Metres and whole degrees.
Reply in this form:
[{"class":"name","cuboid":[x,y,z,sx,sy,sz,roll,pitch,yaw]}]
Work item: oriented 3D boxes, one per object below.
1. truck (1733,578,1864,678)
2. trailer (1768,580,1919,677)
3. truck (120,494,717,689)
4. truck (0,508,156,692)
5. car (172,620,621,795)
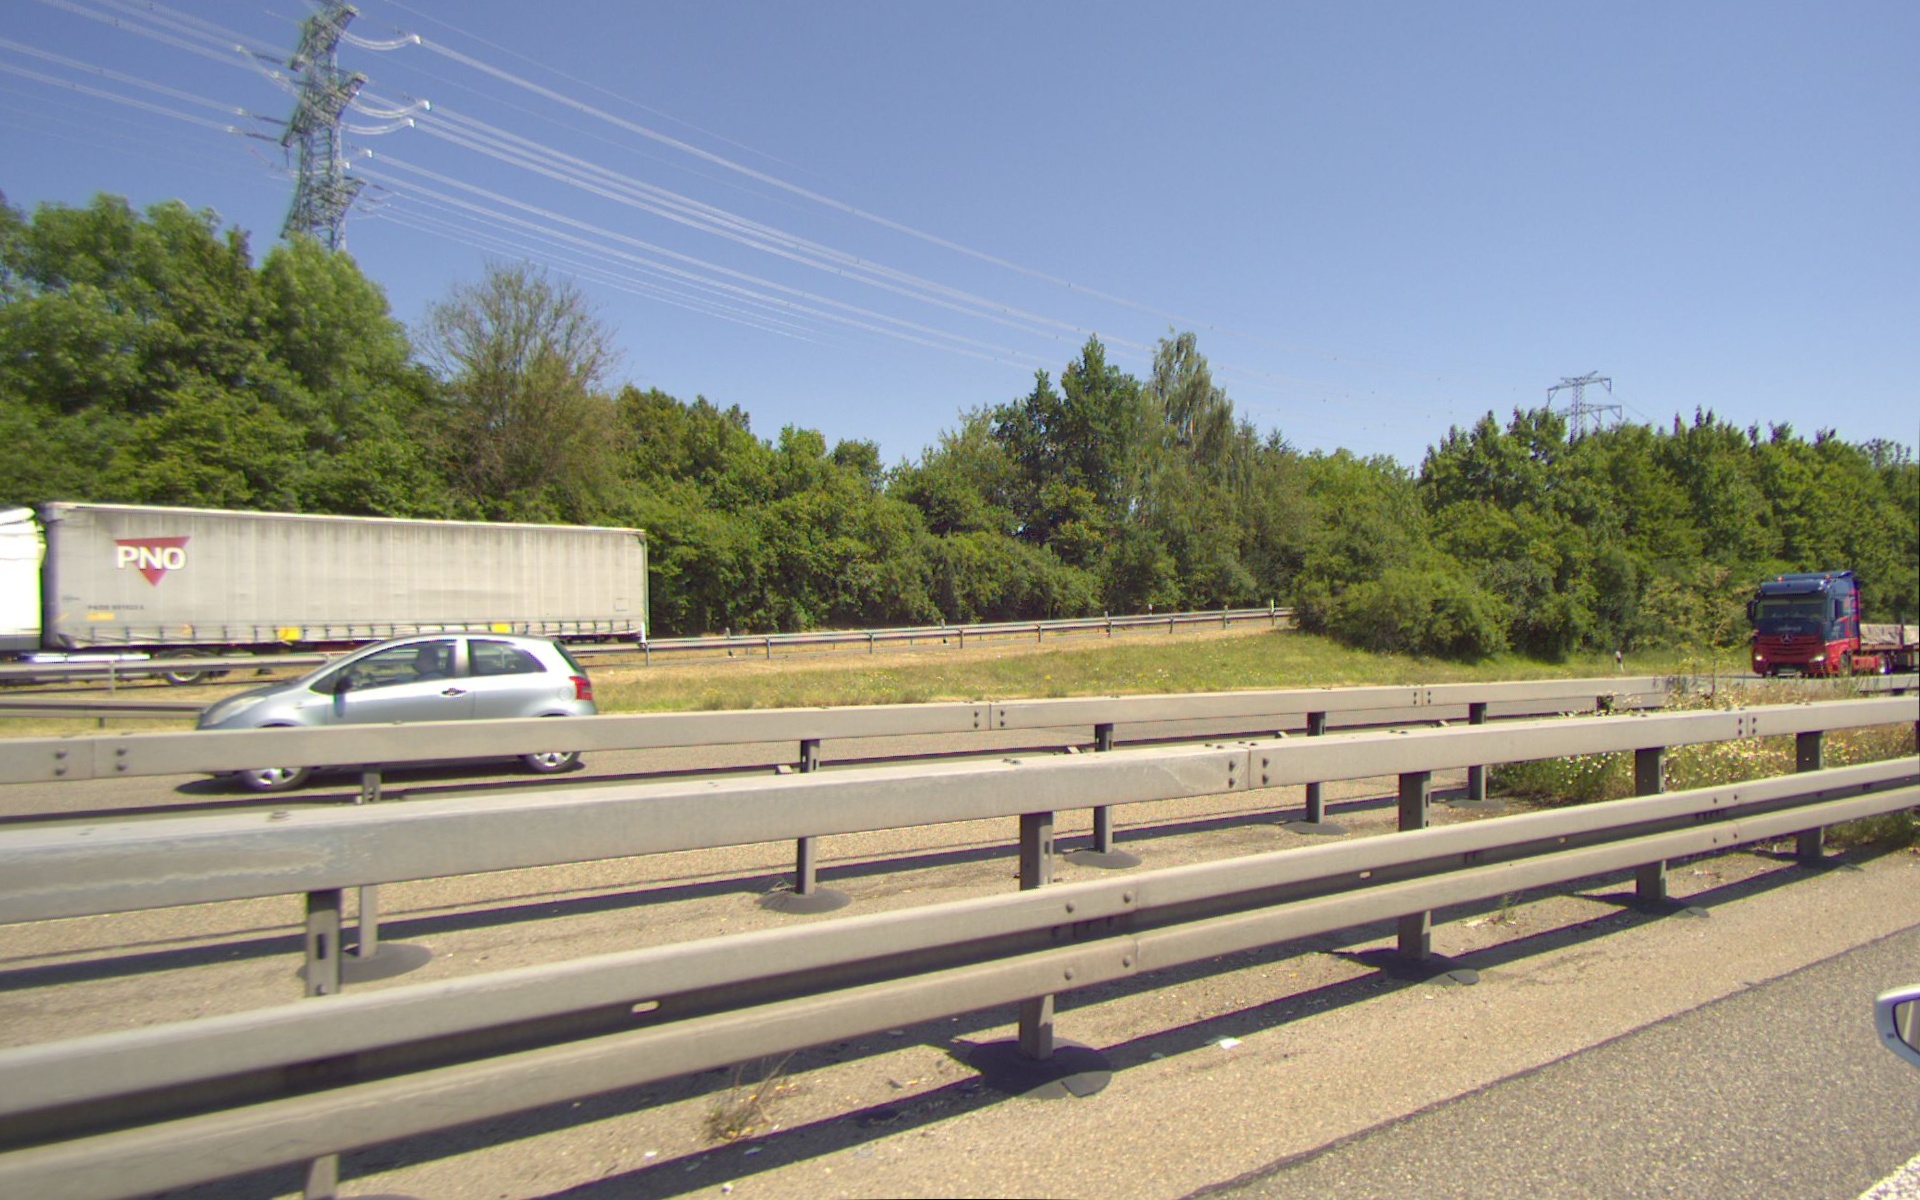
[{"class":"truck","cuboid":[31.773,1.060,38.098,3.082,3.605,2.981,1,-1,-31]},{"class":"trailer","cuboid":[39.861,1.242,42.990,15.839,3.605,2.981,1,-1,-31]},{"class":"truck","cuboid":[-14.271,-0.302,28.456,14.418,4.399,2.972,-1,0,-39]},{"class":"truck","cuboid":[-21.160,0.010,22.888,4.286,3.948,2.921,-1,0,-39]},{"class":"car","cuboid":[-5.771,1.044,10.675,3.838,1.550,1.774,1,-4,-31]}]
